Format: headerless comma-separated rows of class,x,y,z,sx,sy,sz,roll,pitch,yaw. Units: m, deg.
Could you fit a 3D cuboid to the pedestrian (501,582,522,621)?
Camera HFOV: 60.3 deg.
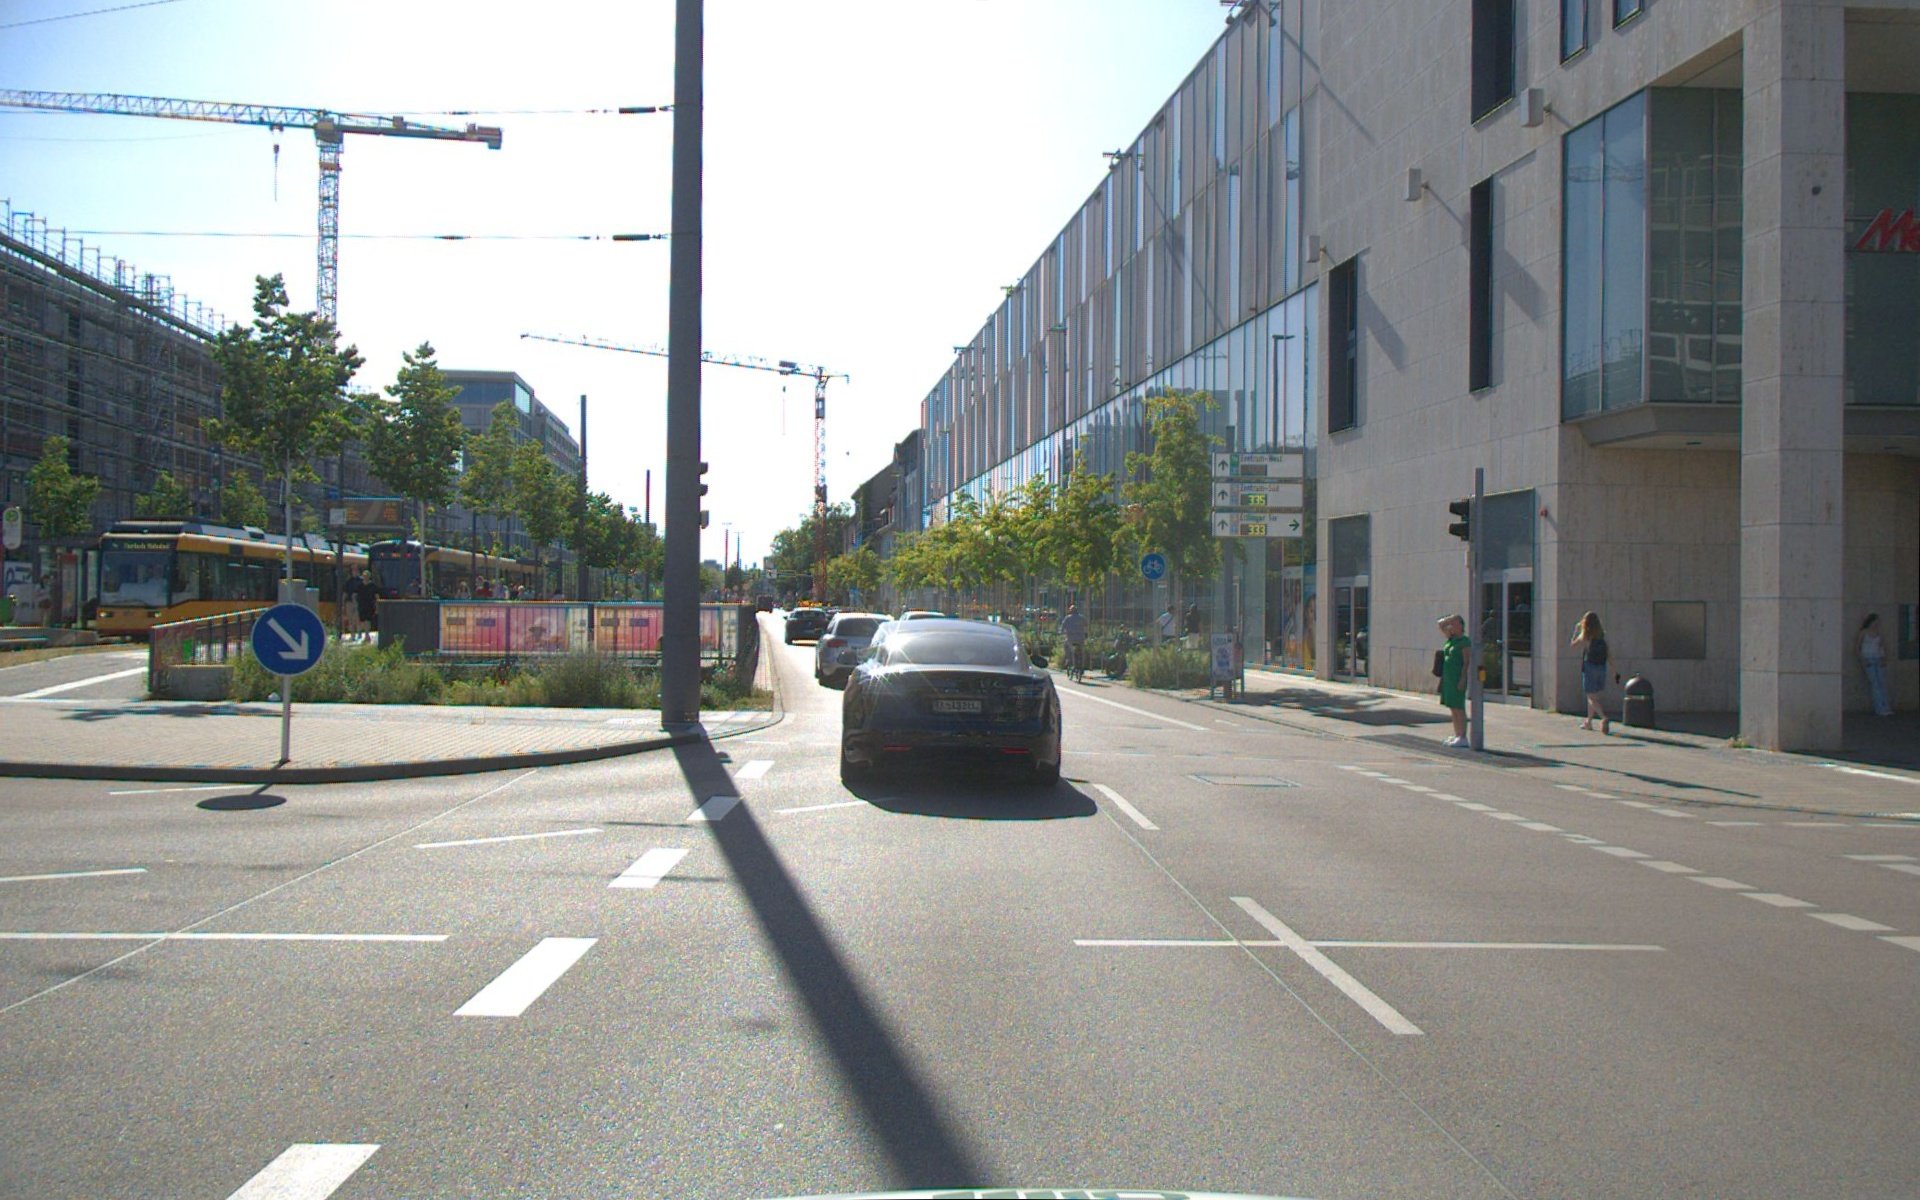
pedestrian,-19.201,0.050,70.815,0.727,1.657,0.860,1,0,-6

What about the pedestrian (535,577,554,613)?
pedestrian,-19.385,-0.217,77.157,0.727,1.657,0.860,1,0,-6

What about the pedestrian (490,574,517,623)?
pedestrian,-17.937,-0.058,65.029,0.870,1.883,1.006,1,0,-7

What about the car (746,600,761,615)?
car,-26.558,0.941,213.182,1.779,1.841,4.034,1,0,-6

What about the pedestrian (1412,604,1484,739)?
pedestrian,6.473,0.929,21.947,0.645,1.732,0.696,-2,0,-9

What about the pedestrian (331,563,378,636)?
pedestrian,-15.378,-0.025,42.025,0.858,1.806,1.186,2,0,-10

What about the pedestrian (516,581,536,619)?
pedestrian,-19.520,-0.003,74.380,0.727,1.657,0.860,1,0,-6

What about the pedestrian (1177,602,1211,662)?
pedestrian,6.721,0.917,47.527,0.694,1.687,0.898,-1,0,-11

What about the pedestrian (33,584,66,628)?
pedestrian,-26.231,0.180,47.648,0.659,1.248,0.505,2,-1,-10

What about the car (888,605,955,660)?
car,-1.224,0.969,51.146,1.750,1.573,4.034,1,0,-6

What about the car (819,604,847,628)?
car,-8.913,1.127,116.252,1.851,1.624,3.997,0,0,-4

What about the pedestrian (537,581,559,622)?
pedestrian,-16.918,0.075,67.947,0.727,1.657,0.860,1,0,-6

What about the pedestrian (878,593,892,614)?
pedestrian,-6.519,0.301,143.847,1.074,1.896,1.520,0,0,-8

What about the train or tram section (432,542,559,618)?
train or tram section,-23.689,-0.938,85.922,2.816,3.337,22.109,2,0,-7

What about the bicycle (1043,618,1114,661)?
bicycle,3.554,1.182,49.714,2.043,1.226,0.950,-1,0,-1

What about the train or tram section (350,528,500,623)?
train or tram section,-21.458,-0.907,67.403,2.816,3.337,15.162,2,0,-7

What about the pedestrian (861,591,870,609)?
pedestrian,-9.897,-0.035,172.691,0.835,1.896,0.928,0,0,-8

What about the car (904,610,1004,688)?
car,-0.185,0.982,34.609,1.683,1.457,3.995,1,0,-6

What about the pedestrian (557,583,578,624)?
pedestrian,-16.146,0.148,68.055,0.727,1.657,0.860,1,0,-6

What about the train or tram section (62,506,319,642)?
train or tram section,-22.233,-0.687,48.902,2.816,3.367,13.053,2,0,-7

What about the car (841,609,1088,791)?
car,-0.116,0.843,15.867,1.960,1.459,4.408,1,0,-5

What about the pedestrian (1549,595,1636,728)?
pedestrian,8.998,0.848,23.576,0.714,1.833,1.064,-1,0,-7

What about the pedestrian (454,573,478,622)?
pedestrian,-18.534,-0.097,62.050,0.659,1.842,1.073,0,0,-8

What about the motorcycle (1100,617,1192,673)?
motorcycle,4.582,1.111,40.923,2.145,1.347,0.902,0,0,-3

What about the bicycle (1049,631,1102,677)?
bicycle,2.748,1.285,39.625,0.715,1.001,2.327,2,0,-10

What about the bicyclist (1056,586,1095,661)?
bicyclist,2.764,0.567,39.642,0.711,1.767,0.995,0,0,-10

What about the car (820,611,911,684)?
car,-2.007,0.952,34.266,1.683,1.343,3.995,1,0,-6

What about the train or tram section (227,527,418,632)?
train or tram section,-23.930,-0.706,63.267,2.794,3.379,15.942,3,0,-7

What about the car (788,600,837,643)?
car,-5.893,0.848,66.425,1.851,1.624,3.997,0,0,-4

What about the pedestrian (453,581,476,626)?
pedestrian,-17.257,0.117,57.644,0.635,1.539,0.587,2,0,-10

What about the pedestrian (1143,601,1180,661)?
pedestrian,5.801,0.881,47.643,0.806,1.687,0.898,1,0,-11

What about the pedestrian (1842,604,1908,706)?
pedestrian,14.896,0.891,26.934,0.733,1.636,0.556,0,1,-8

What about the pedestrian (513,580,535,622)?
pedestrian,-17.596,0.037,66.800,0.727,1.657,0.860,1,0,-6

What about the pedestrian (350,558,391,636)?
pedestrian,-14.012,-0.083,39.340,0.690,1.806,0.957,2,0,-10

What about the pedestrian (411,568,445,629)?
pedestrian,-16.221,-0.053,50.454,0.776,1.806,0.977,2,0,-10

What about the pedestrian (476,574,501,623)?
pedestrian,-17.732,-0.056,62.260,0.755,1.842,1.029,0,0,-8

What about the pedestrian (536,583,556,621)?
pedestrian,-18.422,0.103,73.600,0.727,1.657,0.946,1,0,-6

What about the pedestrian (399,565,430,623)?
pedestrian,-17.339,-0.184,52.602,0.747,1.806,0.825,2,0,-9

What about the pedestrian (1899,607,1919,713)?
pedestrian,15.368,0.942,26.048,0.709,1.636,0.749,0,1,-6

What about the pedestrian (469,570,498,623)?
pedestrian,-15.068,-0.107,52.304,0.727,1.657,0.860,1,0,-6
